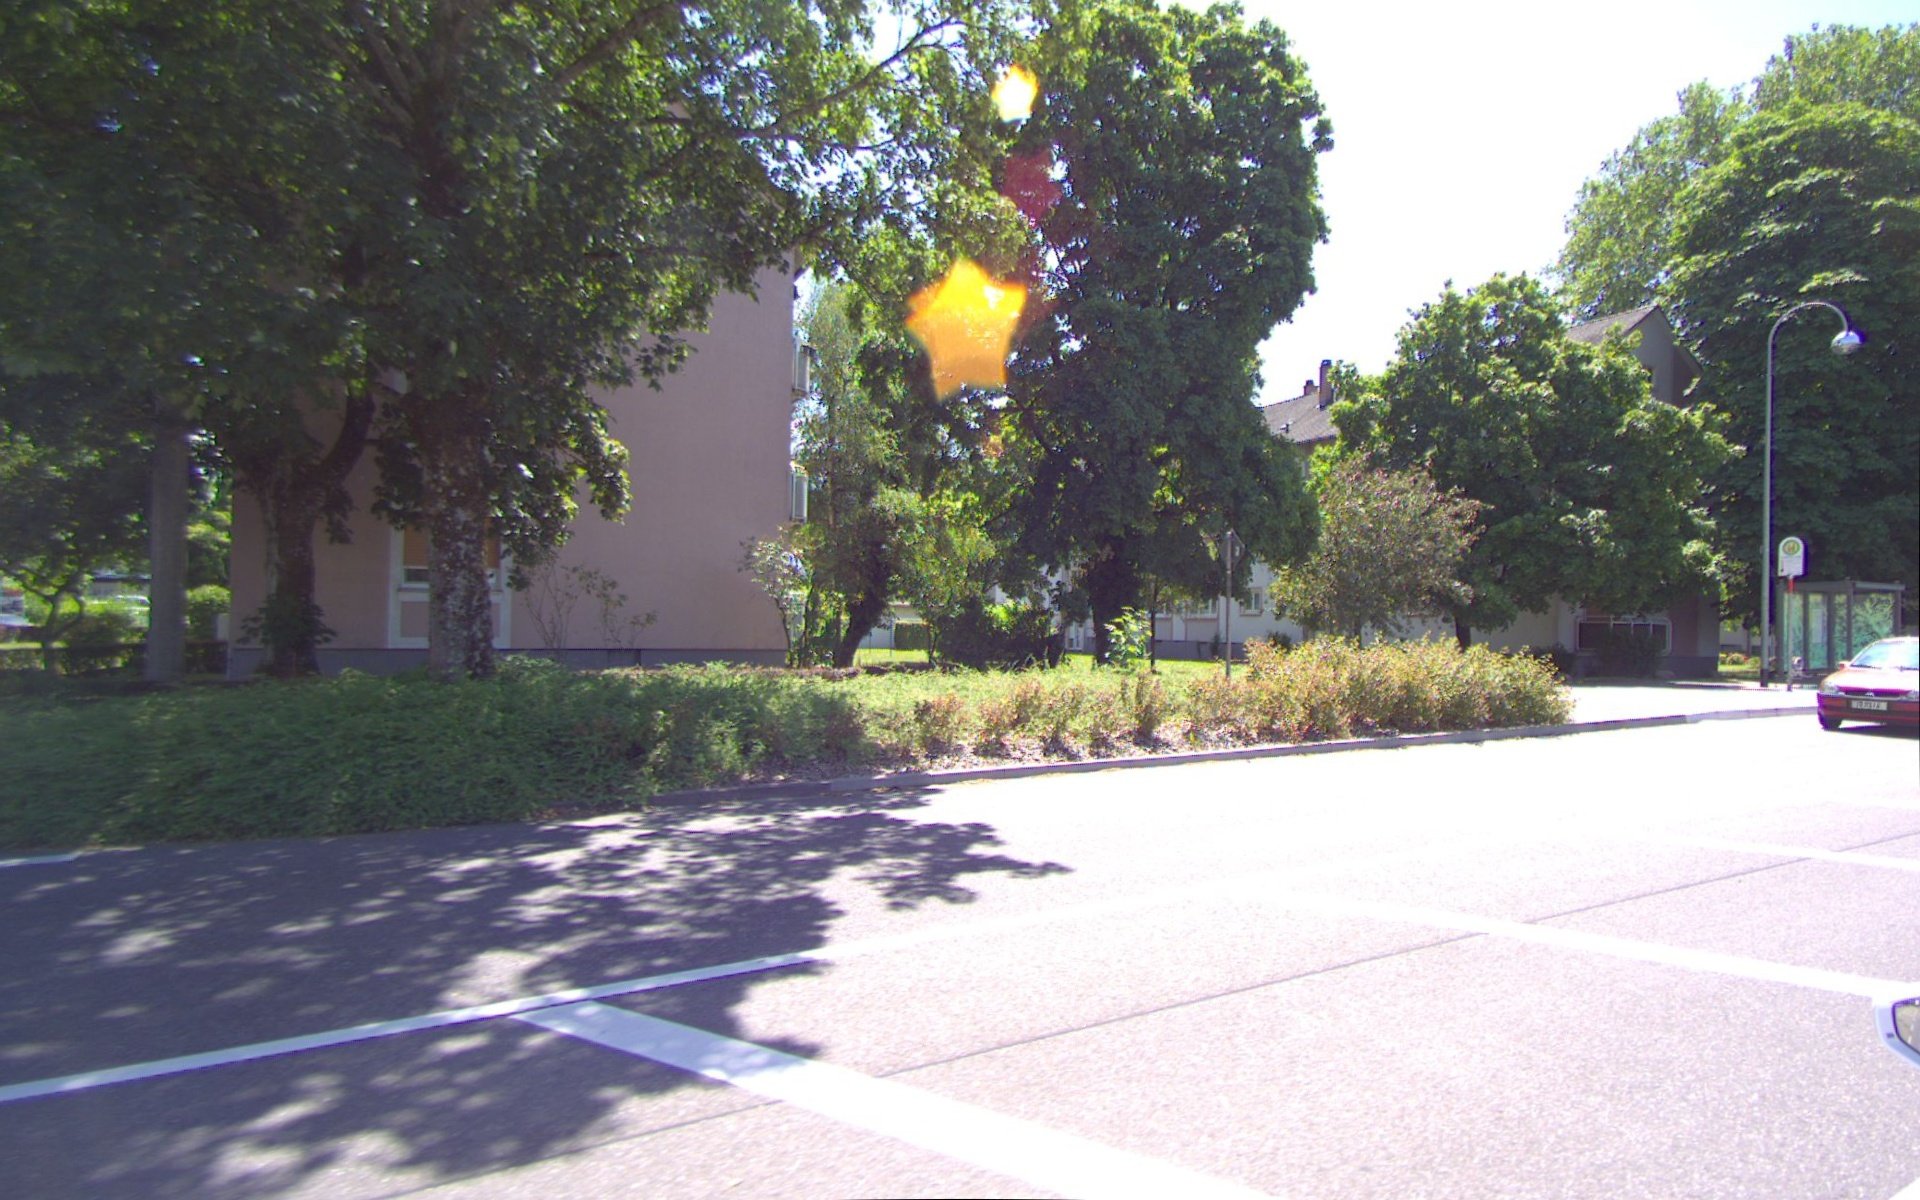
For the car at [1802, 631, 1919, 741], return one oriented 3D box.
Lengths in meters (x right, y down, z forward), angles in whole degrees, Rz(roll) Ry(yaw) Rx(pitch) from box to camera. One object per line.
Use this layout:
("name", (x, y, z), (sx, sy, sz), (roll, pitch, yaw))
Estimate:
("car", (14.646, 1.279, 15.345), (3.647, 1.469, 1.543), (2, 0, -30))
